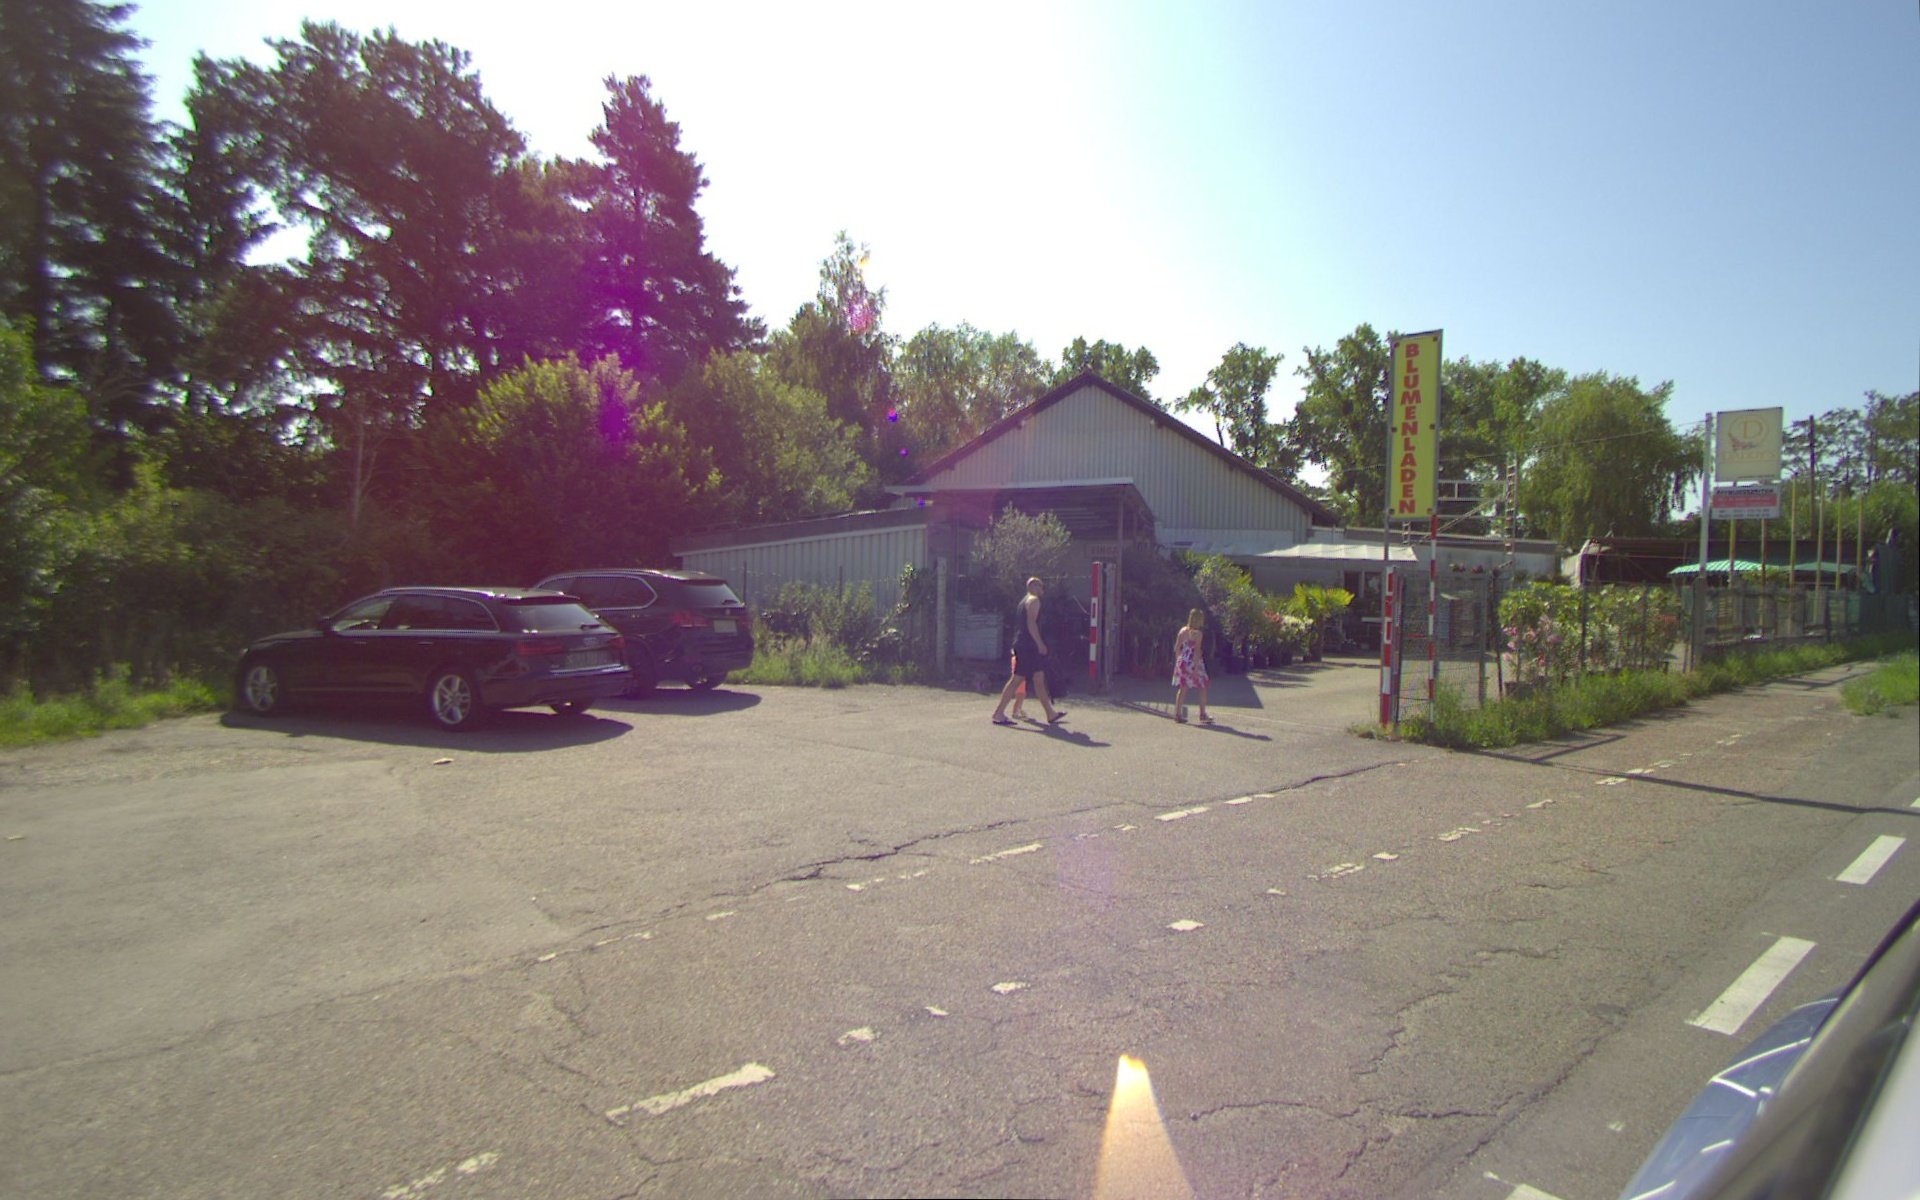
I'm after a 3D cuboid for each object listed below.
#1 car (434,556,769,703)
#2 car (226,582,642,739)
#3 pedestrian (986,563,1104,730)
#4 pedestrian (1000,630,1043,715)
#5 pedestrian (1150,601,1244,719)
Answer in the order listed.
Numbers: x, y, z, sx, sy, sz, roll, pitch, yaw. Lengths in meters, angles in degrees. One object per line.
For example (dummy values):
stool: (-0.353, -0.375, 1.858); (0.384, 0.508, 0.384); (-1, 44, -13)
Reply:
car: (-5.131, 0.332, 14.517); (4.411, 1.826, 1.851); (1, 1, 22)
car: (-5.936, 0.560, 11.416); (4.411, 1.448, 1.703); (1, 1, 22)
pedestrian: (0.961, 0.488, 11.648); (0.917, 1.808, 1.102); (1, 1, -23)
pedestrian: (0.756, 0.880, 12.446); (0.332, 0.996, 0.471); (1, 1, -23)
pedestrian: (2.866, 0.707, 12.288); (0.808, 1.354, 0.726); (1, 1, -23)
